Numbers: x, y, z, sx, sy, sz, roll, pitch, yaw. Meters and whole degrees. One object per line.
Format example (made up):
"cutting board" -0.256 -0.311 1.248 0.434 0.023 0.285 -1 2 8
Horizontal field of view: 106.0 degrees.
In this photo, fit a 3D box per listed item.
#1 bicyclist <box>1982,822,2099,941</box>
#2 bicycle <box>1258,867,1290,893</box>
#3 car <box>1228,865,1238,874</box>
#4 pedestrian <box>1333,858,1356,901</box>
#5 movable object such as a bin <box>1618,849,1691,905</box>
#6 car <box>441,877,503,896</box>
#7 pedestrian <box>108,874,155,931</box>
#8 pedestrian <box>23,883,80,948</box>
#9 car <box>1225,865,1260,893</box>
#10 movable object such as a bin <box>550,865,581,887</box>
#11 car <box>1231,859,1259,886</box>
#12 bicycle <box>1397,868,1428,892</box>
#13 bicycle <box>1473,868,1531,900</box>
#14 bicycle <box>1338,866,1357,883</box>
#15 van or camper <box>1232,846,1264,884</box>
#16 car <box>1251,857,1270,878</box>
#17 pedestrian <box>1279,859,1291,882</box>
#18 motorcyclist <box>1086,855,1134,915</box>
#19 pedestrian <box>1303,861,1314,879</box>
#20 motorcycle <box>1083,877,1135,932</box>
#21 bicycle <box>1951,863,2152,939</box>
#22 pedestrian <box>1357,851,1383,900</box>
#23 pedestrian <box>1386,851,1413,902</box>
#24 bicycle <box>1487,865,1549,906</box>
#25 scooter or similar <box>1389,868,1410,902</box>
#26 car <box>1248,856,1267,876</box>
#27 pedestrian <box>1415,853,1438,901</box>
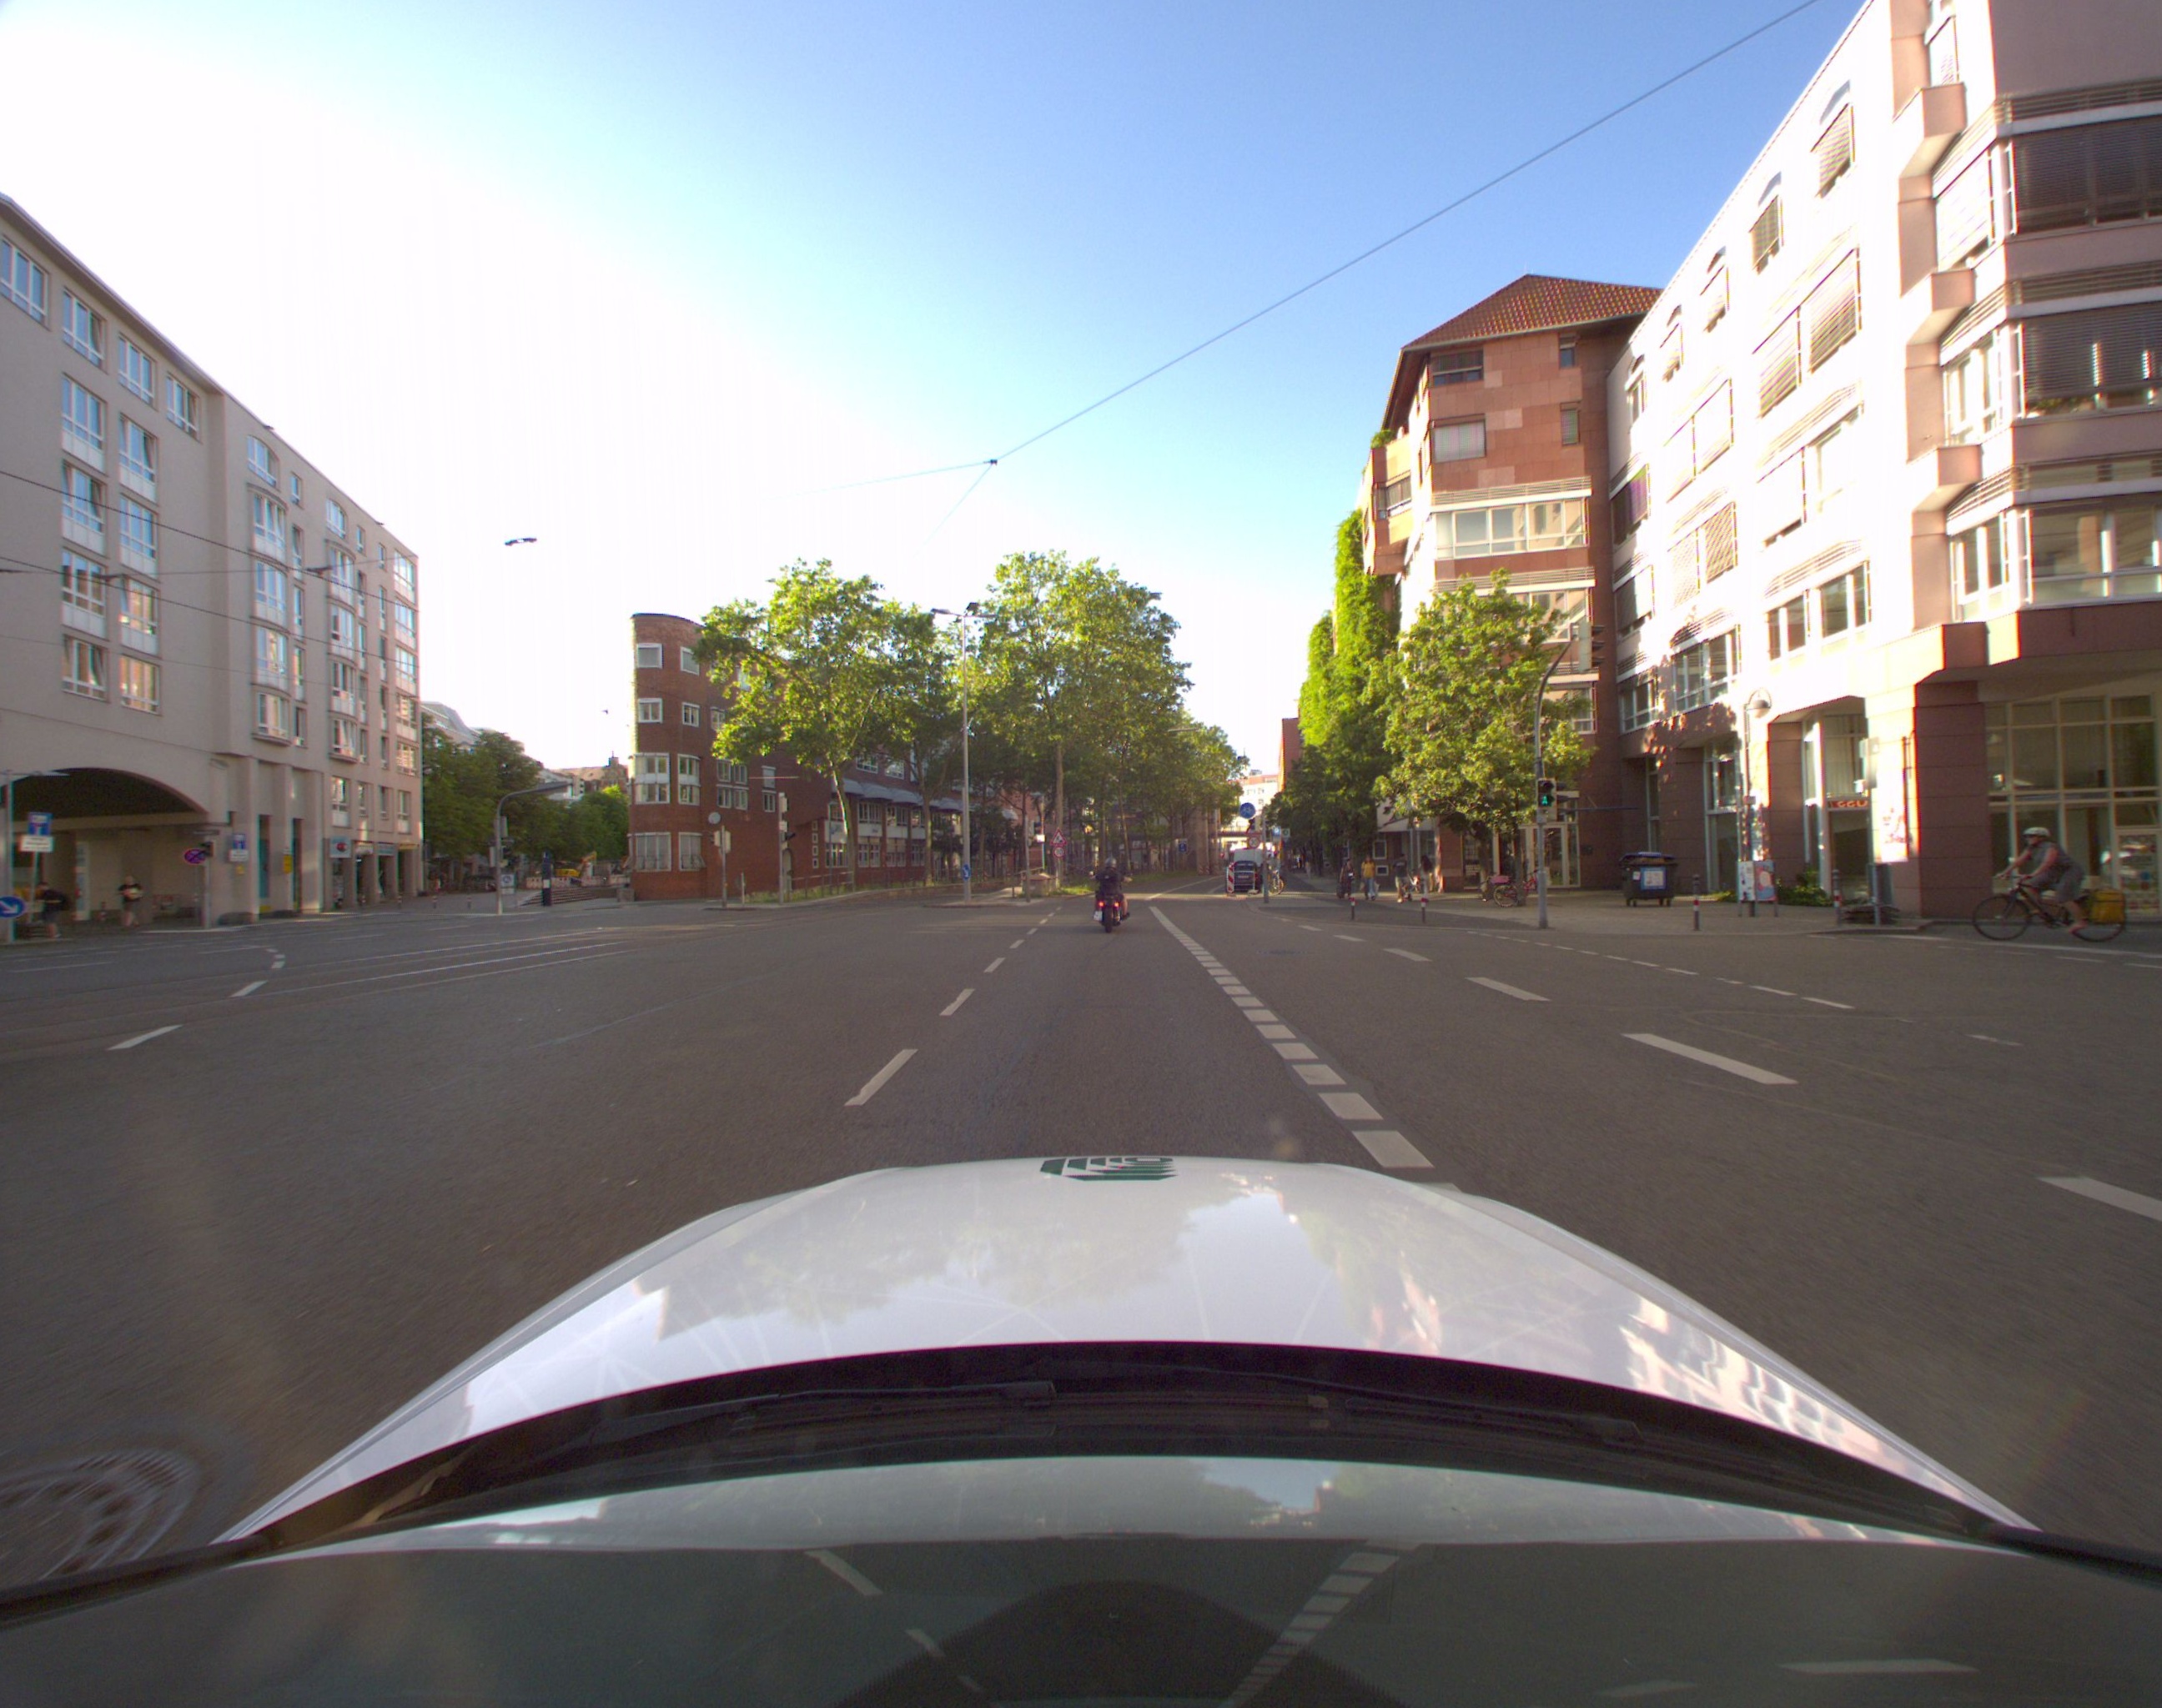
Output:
"bicyclist" 14.890 0.420 12.667 0.820 1.770 0.790 -2 -1 10
"bicycle" 8.136 1.074 34.367 0.736 1.053 1.748 -1 -1 -7
"car" 28.548 2.913 153.067 1.841 1.717 4.010 -2 -1 9
"pedestrian" 9.748 0.932 30.179 0.641 1.578 0.749 -1 -1 6
"movable object such as a bin" 15.853 0.629 22.548 1.400 1.482 0.875 -2 -1 14
"car" -51.091 2.701 68.423 4.013 1.400 1.980 -1 -1 -31
"pedestrian" -34.284 1.724 29.408 0.839 2.014 0.879 -1 -1 -29
"pedestrian" -30.395 1.808 24.042 0.849 1.869 0.755 -2 -1 16
"car" 8.193 1.228 41.332 1.610 1.302 4.324 -2 -1 11
"movable object such as a bin" -56.189 2.393 88.792 1.928 2.310 2.776 -1 -1 -12
"car" 10.355 1.144 51.436 1.609 1.619 4.499 -2 -1 12
"bicycle" 13.597 1.056 33.424 0.733 0.939 1.755 -2 -1 7
"bicycle" 14.544 1.043 28.137 1.730 1.053 0.744 -2 -1 30
"bicycle" 16.077 1.218 49.133 0.614 1.020 1.916 -1 -1 5
"van or camper" 11.905 0.755 57.822 2.035 2.541 5.792 -2 -1 12
"car" 17.800 1.307 80.869 1.823 2.014 4.402 -2 -1 12
"pedestrian" 14.941 1.202 59.631 0.759 1.645 0.548 -2 -1 5
"motorcyclist" 0.642 0.651 17.728 1.007 1.263 0.775 1 0 4
"pedestrian" 18.015 1.244 64.369 0.760 1.445 0.782 -1 -1 11
"motorcycle" 0.632 1.061 17.714 1.013 1.097 2.010 -1 -1 4
"bicycle" 14.997 0.719 12.643 1.903 1.113 0.806 -2 -1 10
"pedestrian" 10.592 0.780 29.874 0.697 1.733 0.769 -1 -1 6
"pedestrian" 11.281 0.785 28.841 0.780 1.763 0.612 -2 -1 13
"bicycle" 13.479 0.970 25.161 1.558 1.227 0.579 -2 -1 8
"scooter or similar" 11.243 1.072 28.745 0.392 1.158 1.252 -2 -1 8
"car" 18.827 1.257 86.924 1.823 2.014 4.402 -2 -1 12
"pedestrian" 12.125 0.794 28.597 0.457 1.672 0.680 -2 -1 2
